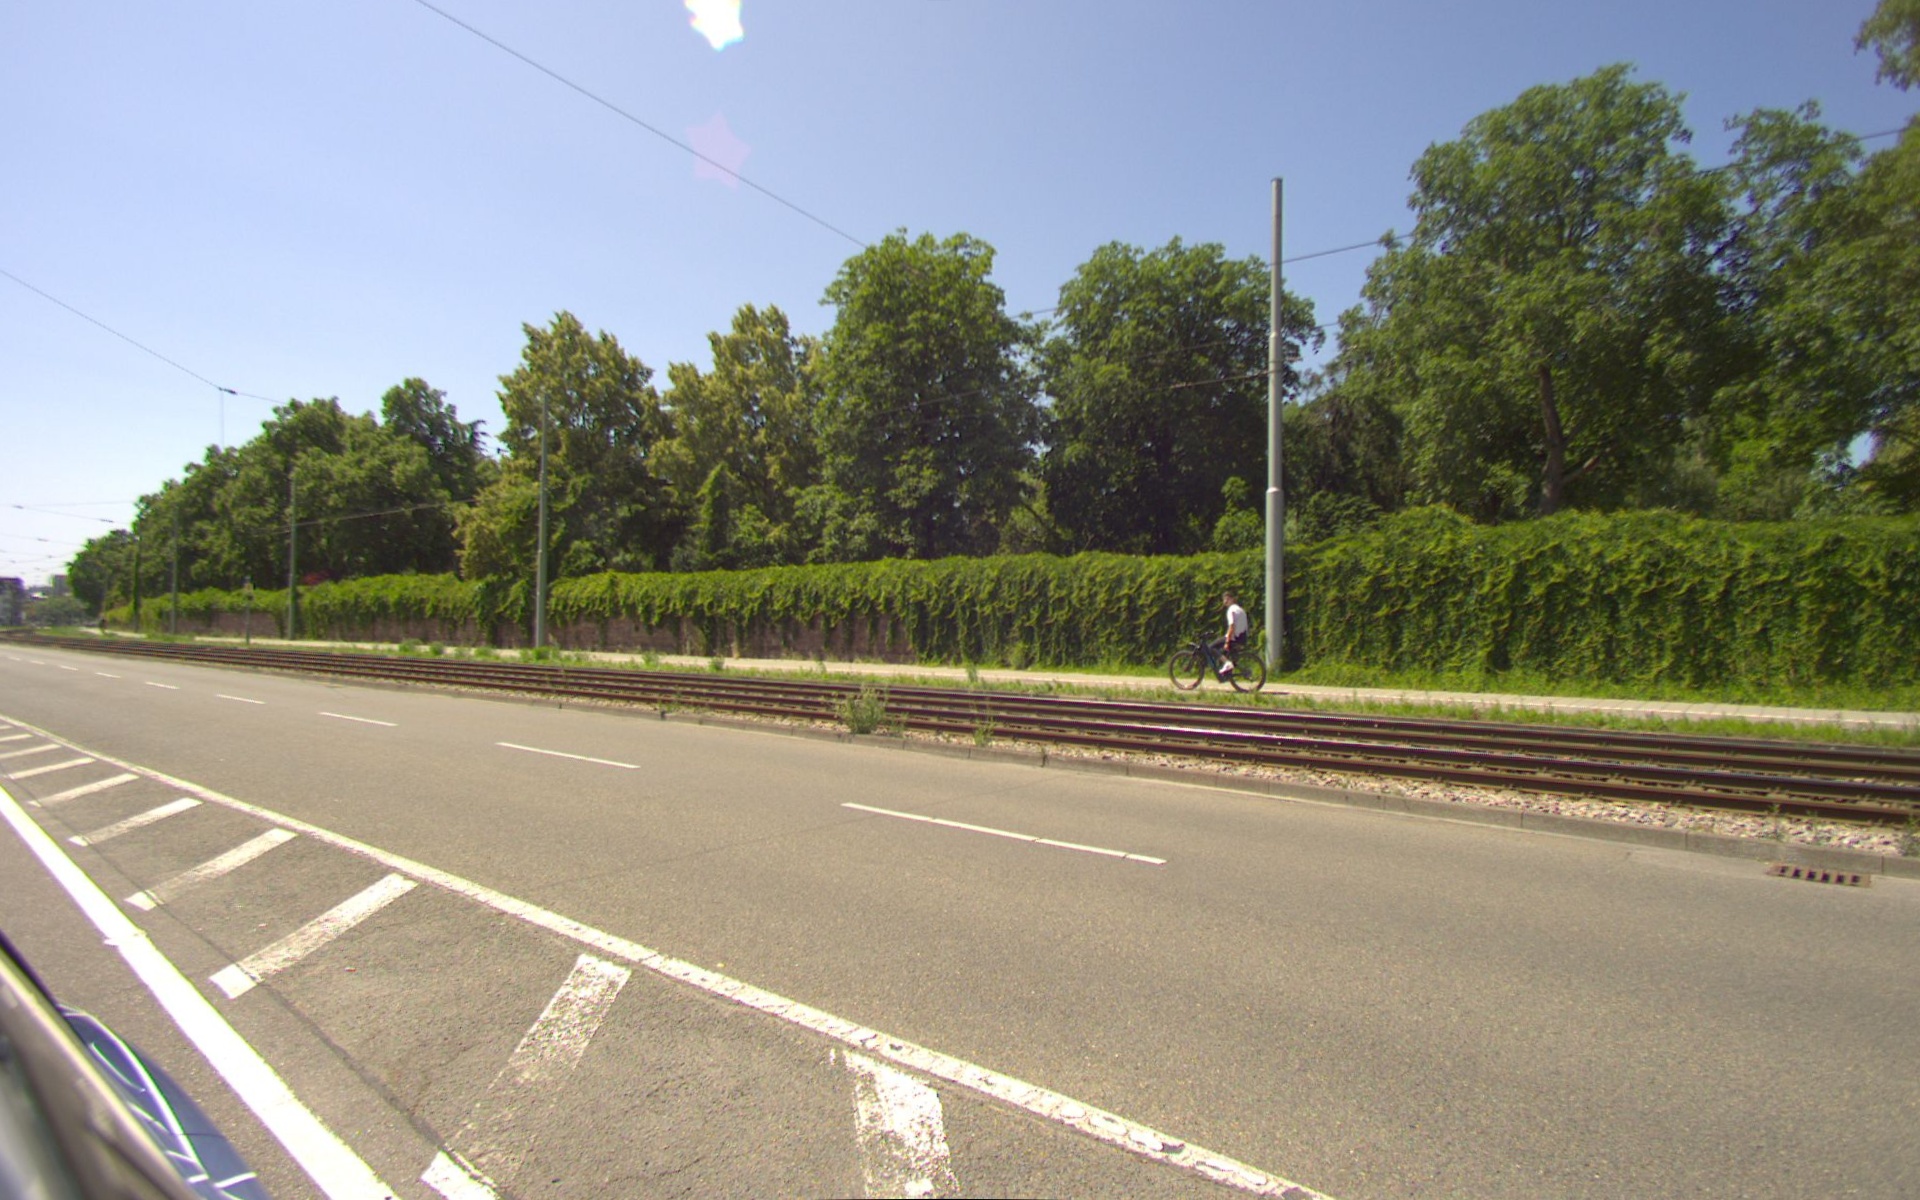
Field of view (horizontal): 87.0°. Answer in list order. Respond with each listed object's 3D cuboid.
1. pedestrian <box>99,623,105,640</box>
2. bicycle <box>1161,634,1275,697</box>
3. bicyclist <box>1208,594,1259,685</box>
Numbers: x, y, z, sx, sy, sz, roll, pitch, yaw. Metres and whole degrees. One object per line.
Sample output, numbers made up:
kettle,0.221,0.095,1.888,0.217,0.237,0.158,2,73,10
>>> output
pedestrian,-86.794,3.208,102.353,0.302,1.677,0.447,-2,-1,41
bicycle,4.760,1.186,18.743,1.977,1.063,0.609,-1,0,42
bicyclist,4.997,0.706,18.491,0.768,1.624,0.477,-1,0,41
